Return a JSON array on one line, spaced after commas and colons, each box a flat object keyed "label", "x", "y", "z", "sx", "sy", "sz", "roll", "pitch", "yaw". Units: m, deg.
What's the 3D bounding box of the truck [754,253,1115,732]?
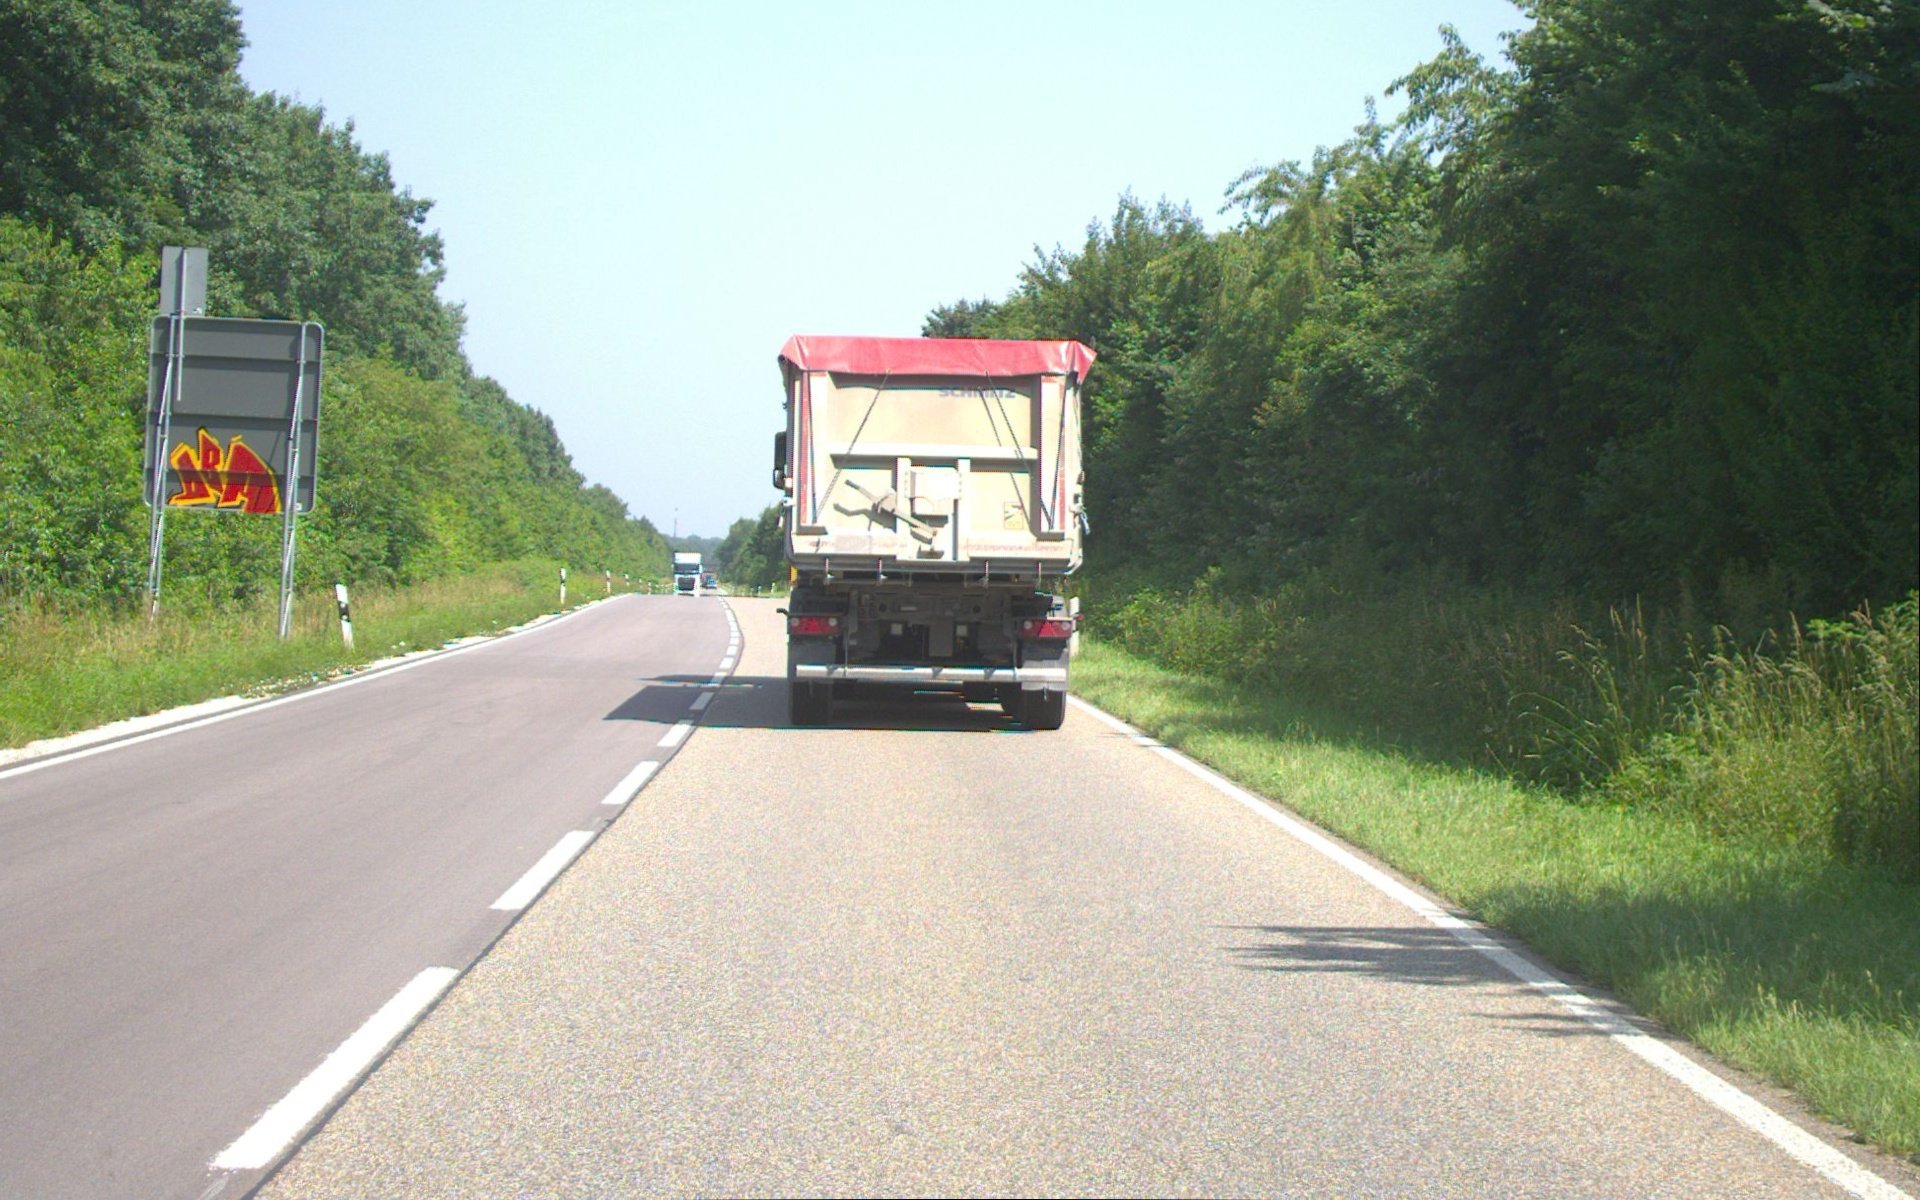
[{"label": "truck", "x": -0.565, "y": -0.997, "z": 34.581, "sx": 2.893, "sy": 3.949, "sz": 11.934, "roll": 1, "pitch": 1, "yaw": -4}]
